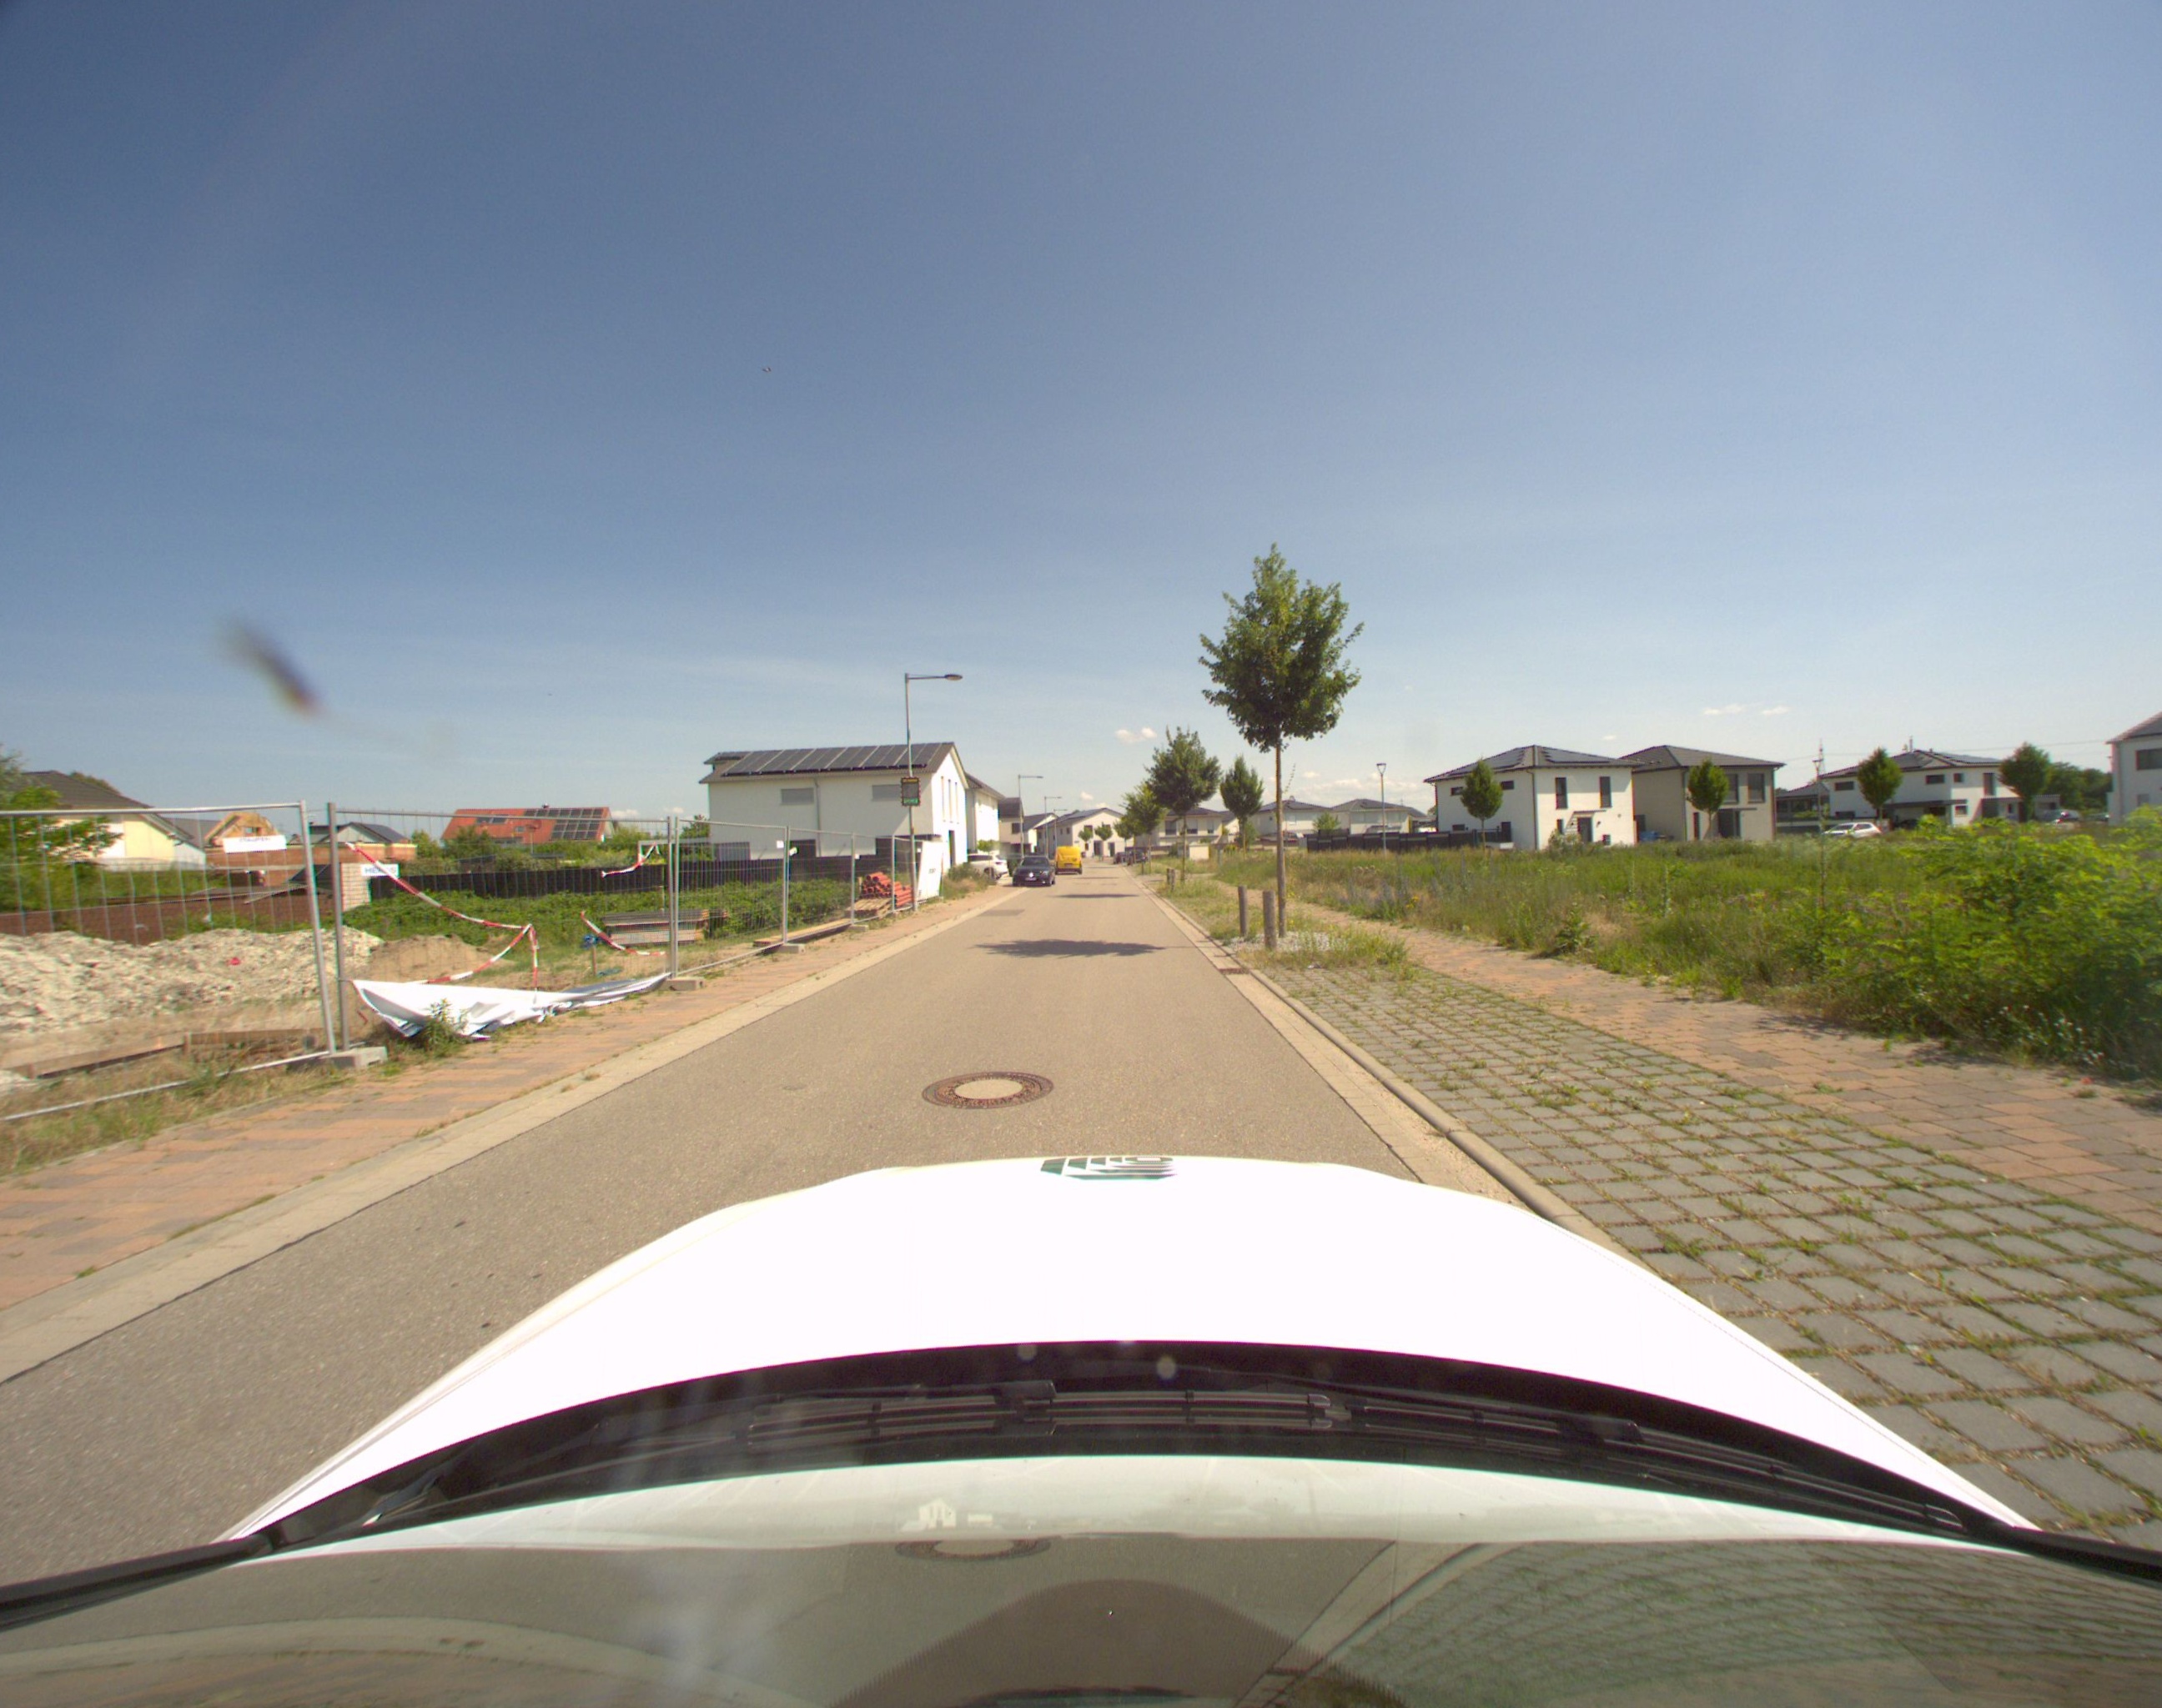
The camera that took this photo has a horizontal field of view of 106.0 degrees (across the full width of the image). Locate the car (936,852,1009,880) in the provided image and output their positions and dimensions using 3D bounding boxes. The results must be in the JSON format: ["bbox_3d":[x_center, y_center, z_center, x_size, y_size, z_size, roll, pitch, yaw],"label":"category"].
[{"bbox_3d":[-6.596,0.739,49.830,4.046,1.581,1.788,-1,1,7],"label":"car"}]

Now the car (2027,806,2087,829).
[{"bbox_3d":[84.944,-3.178,70.865,4.237,1.753,1.818,-2,0,-17],"label":"car"}]

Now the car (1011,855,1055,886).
[{"bbox_3d":[-2.265,0.766,39.242,1.739,1.405,4.161,0,0,1],"label":"car"}]

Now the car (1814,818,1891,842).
[{"bbox_3d":[51.154,-1.563,53.984,3.990,1.398,1.743,-2,-1,-12],"label":"car"}]

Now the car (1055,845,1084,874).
[{"bbox_3d":[-0.896,0.411,59.358,1.936,1.981,4.213,-2,-1,-2],"label":"car"}]

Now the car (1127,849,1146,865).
[{"bbox_3d":[5.406,0.296,79.308,1.633,1.403,3.811,-2,-1,1],"label":"car"}]

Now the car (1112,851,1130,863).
[{"bbox_3d":[4.826,0.396,97.945,1.625,1.322,3.826,-2,-2,-5],"label":"car"}]
